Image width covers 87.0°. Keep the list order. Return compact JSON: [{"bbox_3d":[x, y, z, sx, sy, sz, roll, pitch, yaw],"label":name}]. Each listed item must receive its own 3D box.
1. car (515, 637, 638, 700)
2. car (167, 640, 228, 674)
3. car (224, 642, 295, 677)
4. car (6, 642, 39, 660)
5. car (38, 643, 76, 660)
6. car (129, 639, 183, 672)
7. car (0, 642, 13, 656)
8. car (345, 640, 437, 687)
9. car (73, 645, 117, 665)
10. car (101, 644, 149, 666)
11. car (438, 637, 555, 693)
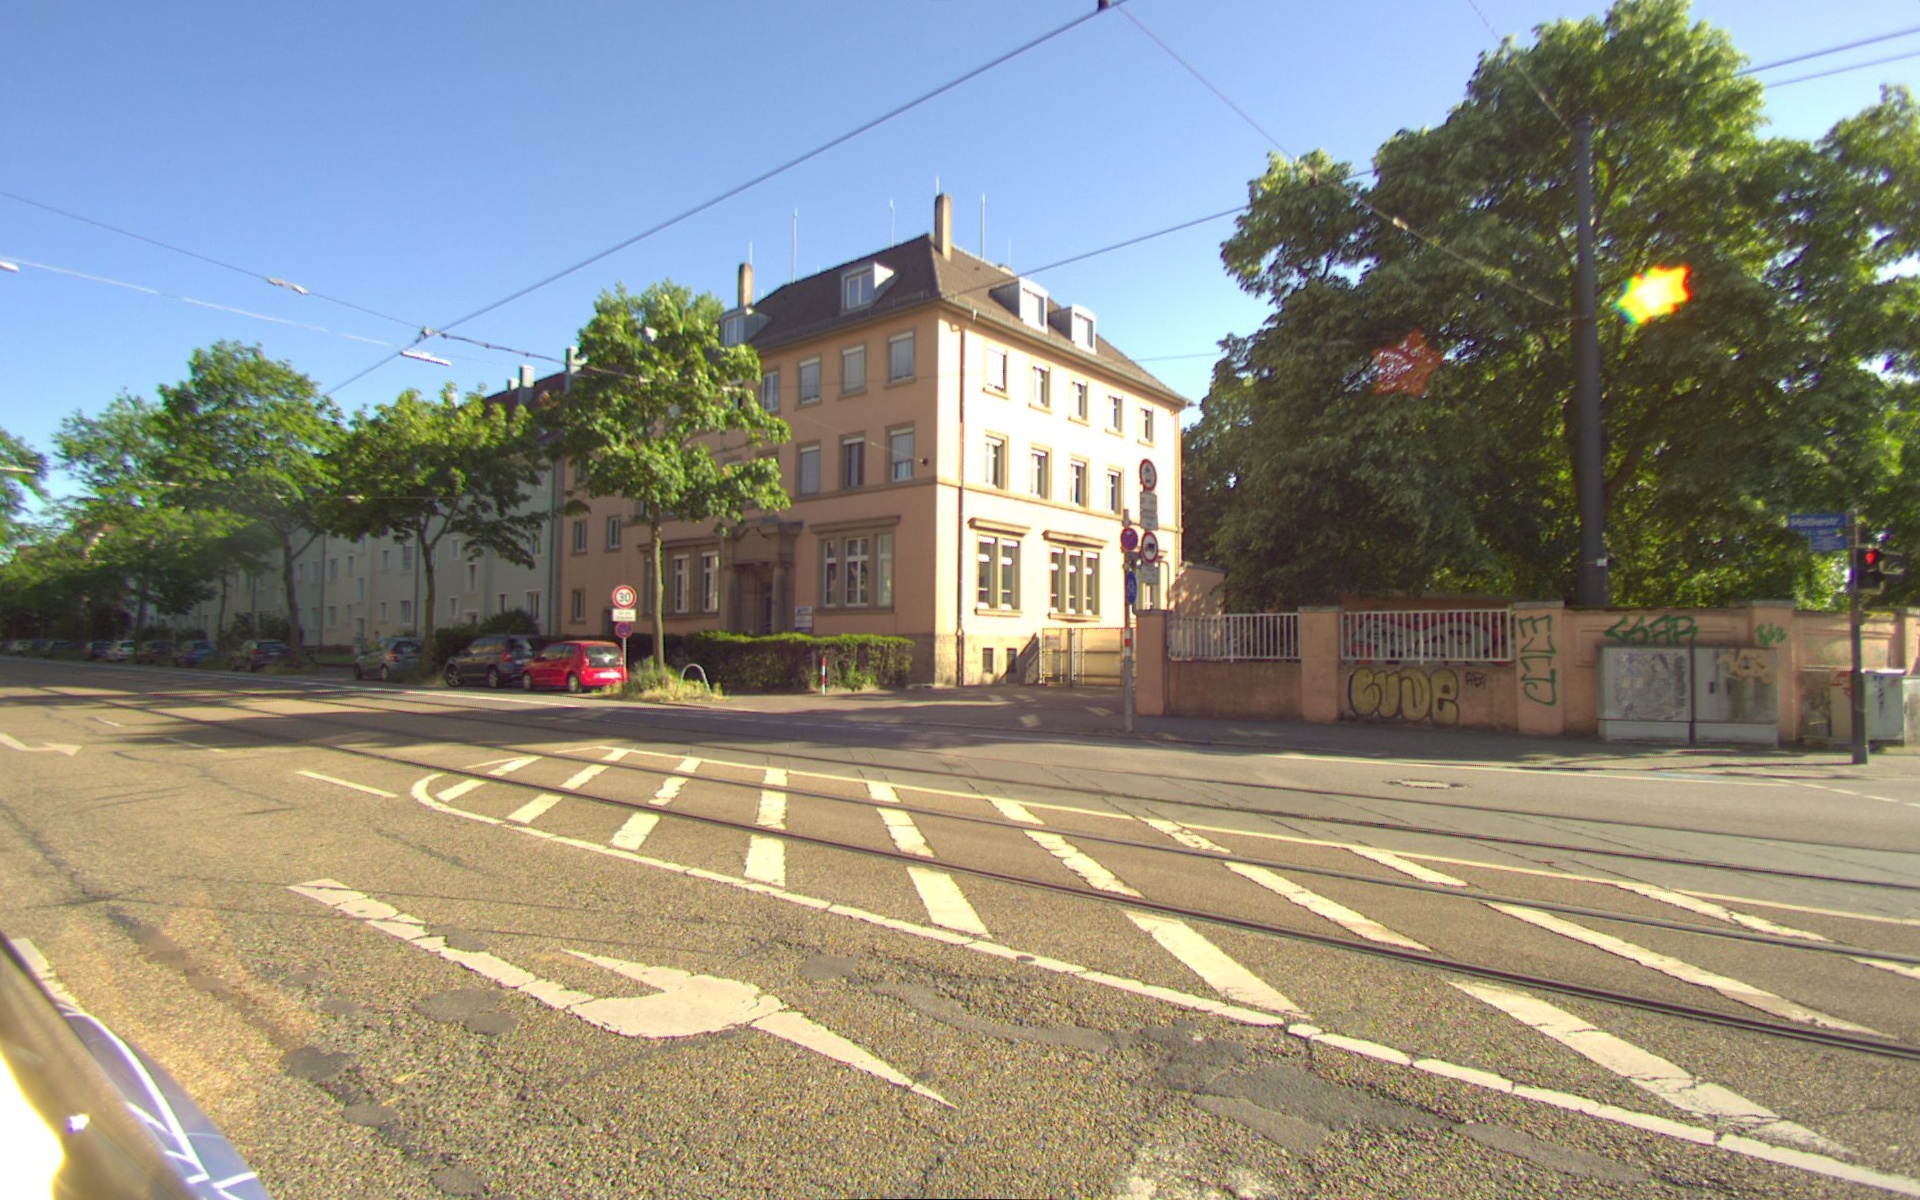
[{"bbox_3d":[-11.177,1.958,29.450,3.369,1.719,1.794,-2,-4,37],"label":"car"},{"bbox_3d":[-42.623,3.152,56.546,3.791,1.839,1.793,-2,-4,39],"label":"car"},{"bbox_3d":[-33.716,2.850,48.678,3.626,1.611,1.793,-2,-4,39],"label":"car"},{"bbox_3d":[-93.618,5.081,101.042,3.626,1.792,1.793,-2,-4,39],"label":"car"},{"bbox_3d":[-76.160,4.367,85.371,3.626,1.430,1.793,-2,-4,39],"label":"car"},{"bbox_3d":[-49.554,3.400,62.393,3.626,1.956,1.793,-2,-4,39],"label":"car"},{"bbox_3d":[-102.833,5.217,108.152,3.626,1.535,1.793,-2,-4,39],"label":"car"},{"bbox_3d":[-21.432,2.375,38.076,3.874,1.671,1.792,-2,-4,41],"label":"car"},{"bbox_3d":[-63.458,4.016,74.231,3.626,1.430,1.793,-2,-4,39],"label":"car"},{"bbox_3d":[-56.570,3.743,68.569,3.626,1.430,1.793,-2,-4,39],"label":"car"},{"bbox_3d":[-14.806,2.054,32.288,3.813,1.671,1.794,-2,-4,37],"label":"car"}]
